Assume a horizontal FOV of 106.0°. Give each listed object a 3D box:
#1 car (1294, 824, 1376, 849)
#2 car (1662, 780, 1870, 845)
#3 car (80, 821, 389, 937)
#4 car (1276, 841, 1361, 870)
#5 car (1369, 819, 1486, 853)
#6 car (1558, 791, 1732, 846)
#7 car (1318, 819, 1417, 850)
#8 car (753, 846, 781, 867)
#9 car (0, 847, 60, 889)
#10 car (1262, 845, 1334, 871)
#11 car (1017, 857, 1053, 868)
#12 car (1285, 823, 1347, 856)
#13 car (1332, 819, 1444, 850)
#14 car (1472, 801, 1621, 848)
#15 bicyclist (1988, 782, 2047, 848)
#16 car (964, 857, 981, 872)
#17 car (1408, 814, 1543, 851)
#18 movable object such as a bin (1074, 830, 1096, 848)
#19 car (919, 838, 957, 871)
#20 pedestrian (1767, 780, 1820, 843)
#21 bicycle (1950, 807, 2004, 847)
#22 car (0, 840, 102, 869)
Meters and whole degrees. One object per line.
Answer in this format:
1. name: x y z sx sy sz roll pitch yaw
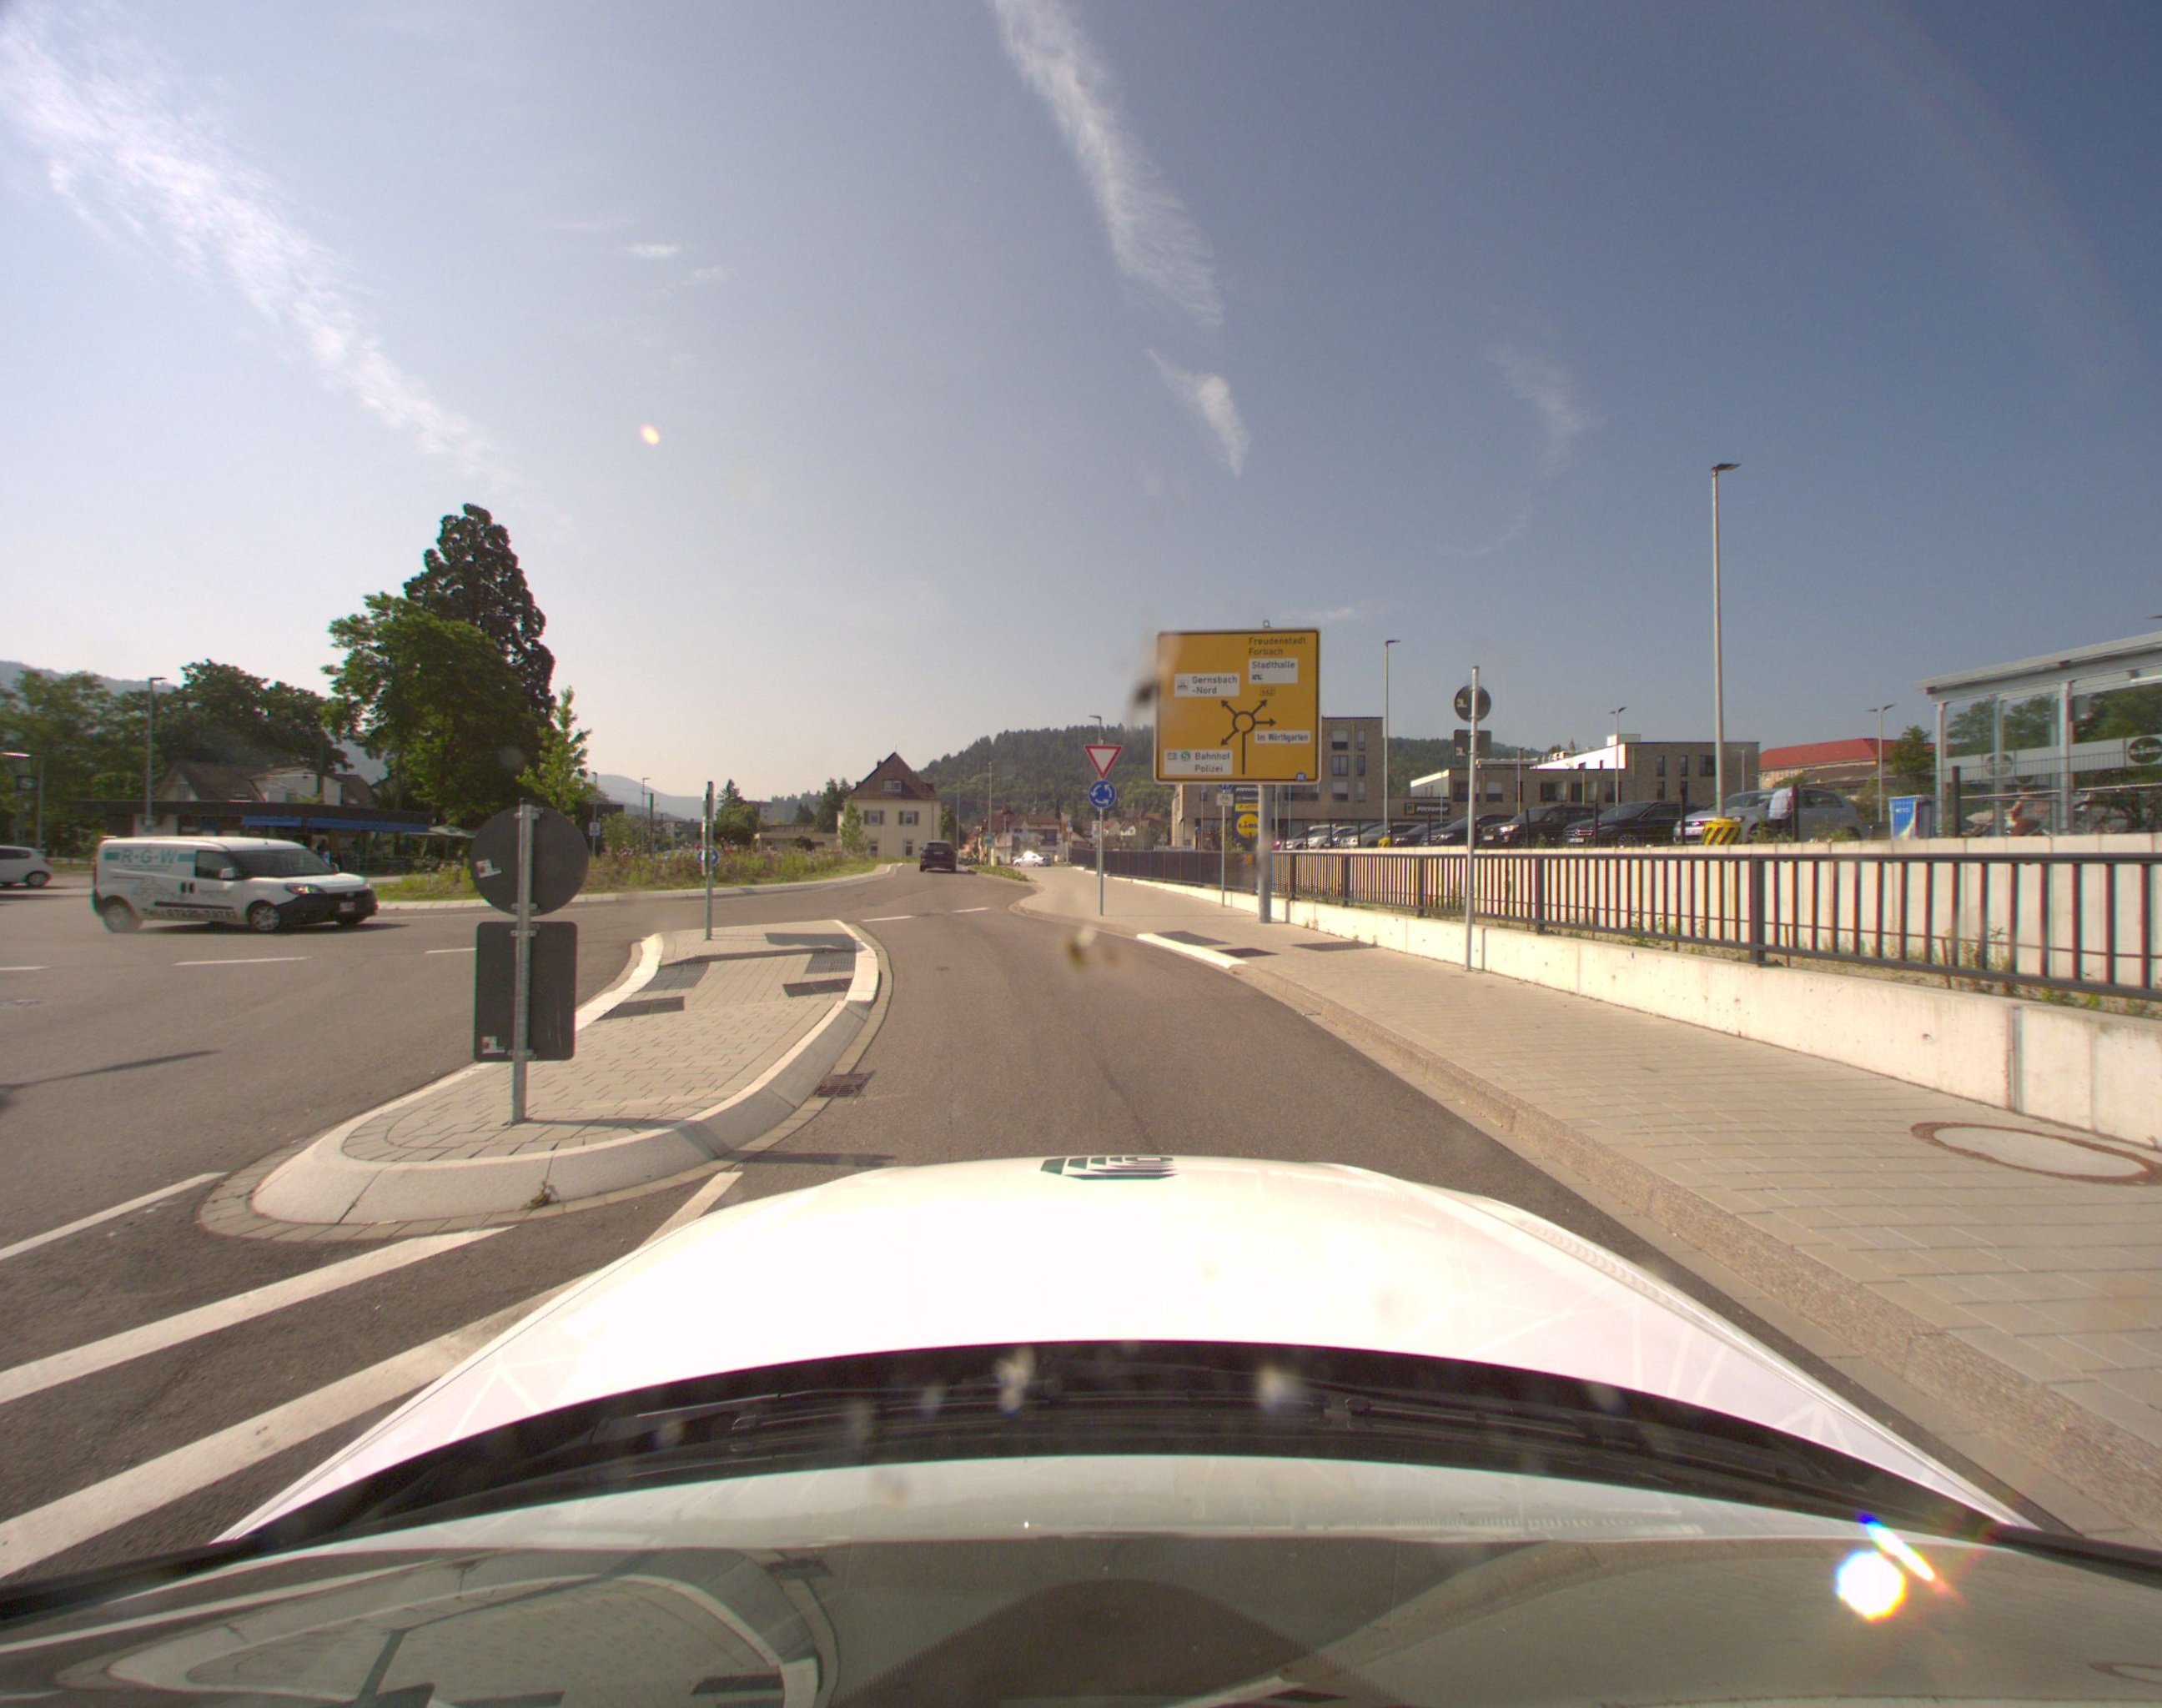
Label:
1. car: 12.704 -0.864 40.750 3.554 1.199 1.709 0 0 -9
2. car: 15.923 -0.925 18.999 3.805 1.364 1.675 0 0 -10
3. car: -16.855 0.417 16.345 4.566 2.077 1.816 1 2 6
4. car: 12.647 0.085 43.491 4.052 1.487 1.713 0 0 -7
5. car: 13.575 -0.673 31.966 3.966 1.245 1.724 0 0 -10
6. car: 15.404 -0.939 22.282 4.061 1.404 1.481 0 0 -10
7. car: 13.247 -0.897 37.711 4.035 1.342 1.655 0 0 -9
8. car: -30.026 0.212 77.923 1.810 2.013 3.985 0 0 -11
9. car: -38.889 0.477 28.561 1.379 1.450 3.547 0 -2 11
10. car: 12.250 0.245 46.104 3.554 1.430 1.705 0 0 -9
11. car: -4.457 0.831 78.613 3.237 0.964 1.358 -1 -1 32
12. car: 16.174 -0.977 56.230 3.960 2.136 2.007 -1 -1 12
13. car: 13.166 -0.832 35.029 4.278 1.245 1.659 0 0 -10
14. car: 14.891 -0.910 26.116 4.004 1.404 1.719 0 0 -10
15. bicyclist: 21.003 -0.861 18.273 0.431 1.423 0.720 0 -1 -14
16. car: -15.321 1.463 114.916 1.995 2.014 3.983 0 -1 -12
17. car: 14.207 -0.761 29.404 4.213 1.245 1.738 0 0 -10
18. movable object such as a bin: 0.442 -1.655 90.233 2.435 1.844 1.428 0 -1 0
19. car: -7.536 0.056 43.135 1.881 1.684 3.987 0 -1 -9
20. pedestrian: 15.474 -0.912 17.690 0.546 1.312 0.655 0 -1 -7
21. bicycle: 20.842 -0.617 18.951 0.533 0.900 0.675 0 -1 -15
22. car: -48.905 0.042 38.623 3.564 1.326 1.419 0 0 7
